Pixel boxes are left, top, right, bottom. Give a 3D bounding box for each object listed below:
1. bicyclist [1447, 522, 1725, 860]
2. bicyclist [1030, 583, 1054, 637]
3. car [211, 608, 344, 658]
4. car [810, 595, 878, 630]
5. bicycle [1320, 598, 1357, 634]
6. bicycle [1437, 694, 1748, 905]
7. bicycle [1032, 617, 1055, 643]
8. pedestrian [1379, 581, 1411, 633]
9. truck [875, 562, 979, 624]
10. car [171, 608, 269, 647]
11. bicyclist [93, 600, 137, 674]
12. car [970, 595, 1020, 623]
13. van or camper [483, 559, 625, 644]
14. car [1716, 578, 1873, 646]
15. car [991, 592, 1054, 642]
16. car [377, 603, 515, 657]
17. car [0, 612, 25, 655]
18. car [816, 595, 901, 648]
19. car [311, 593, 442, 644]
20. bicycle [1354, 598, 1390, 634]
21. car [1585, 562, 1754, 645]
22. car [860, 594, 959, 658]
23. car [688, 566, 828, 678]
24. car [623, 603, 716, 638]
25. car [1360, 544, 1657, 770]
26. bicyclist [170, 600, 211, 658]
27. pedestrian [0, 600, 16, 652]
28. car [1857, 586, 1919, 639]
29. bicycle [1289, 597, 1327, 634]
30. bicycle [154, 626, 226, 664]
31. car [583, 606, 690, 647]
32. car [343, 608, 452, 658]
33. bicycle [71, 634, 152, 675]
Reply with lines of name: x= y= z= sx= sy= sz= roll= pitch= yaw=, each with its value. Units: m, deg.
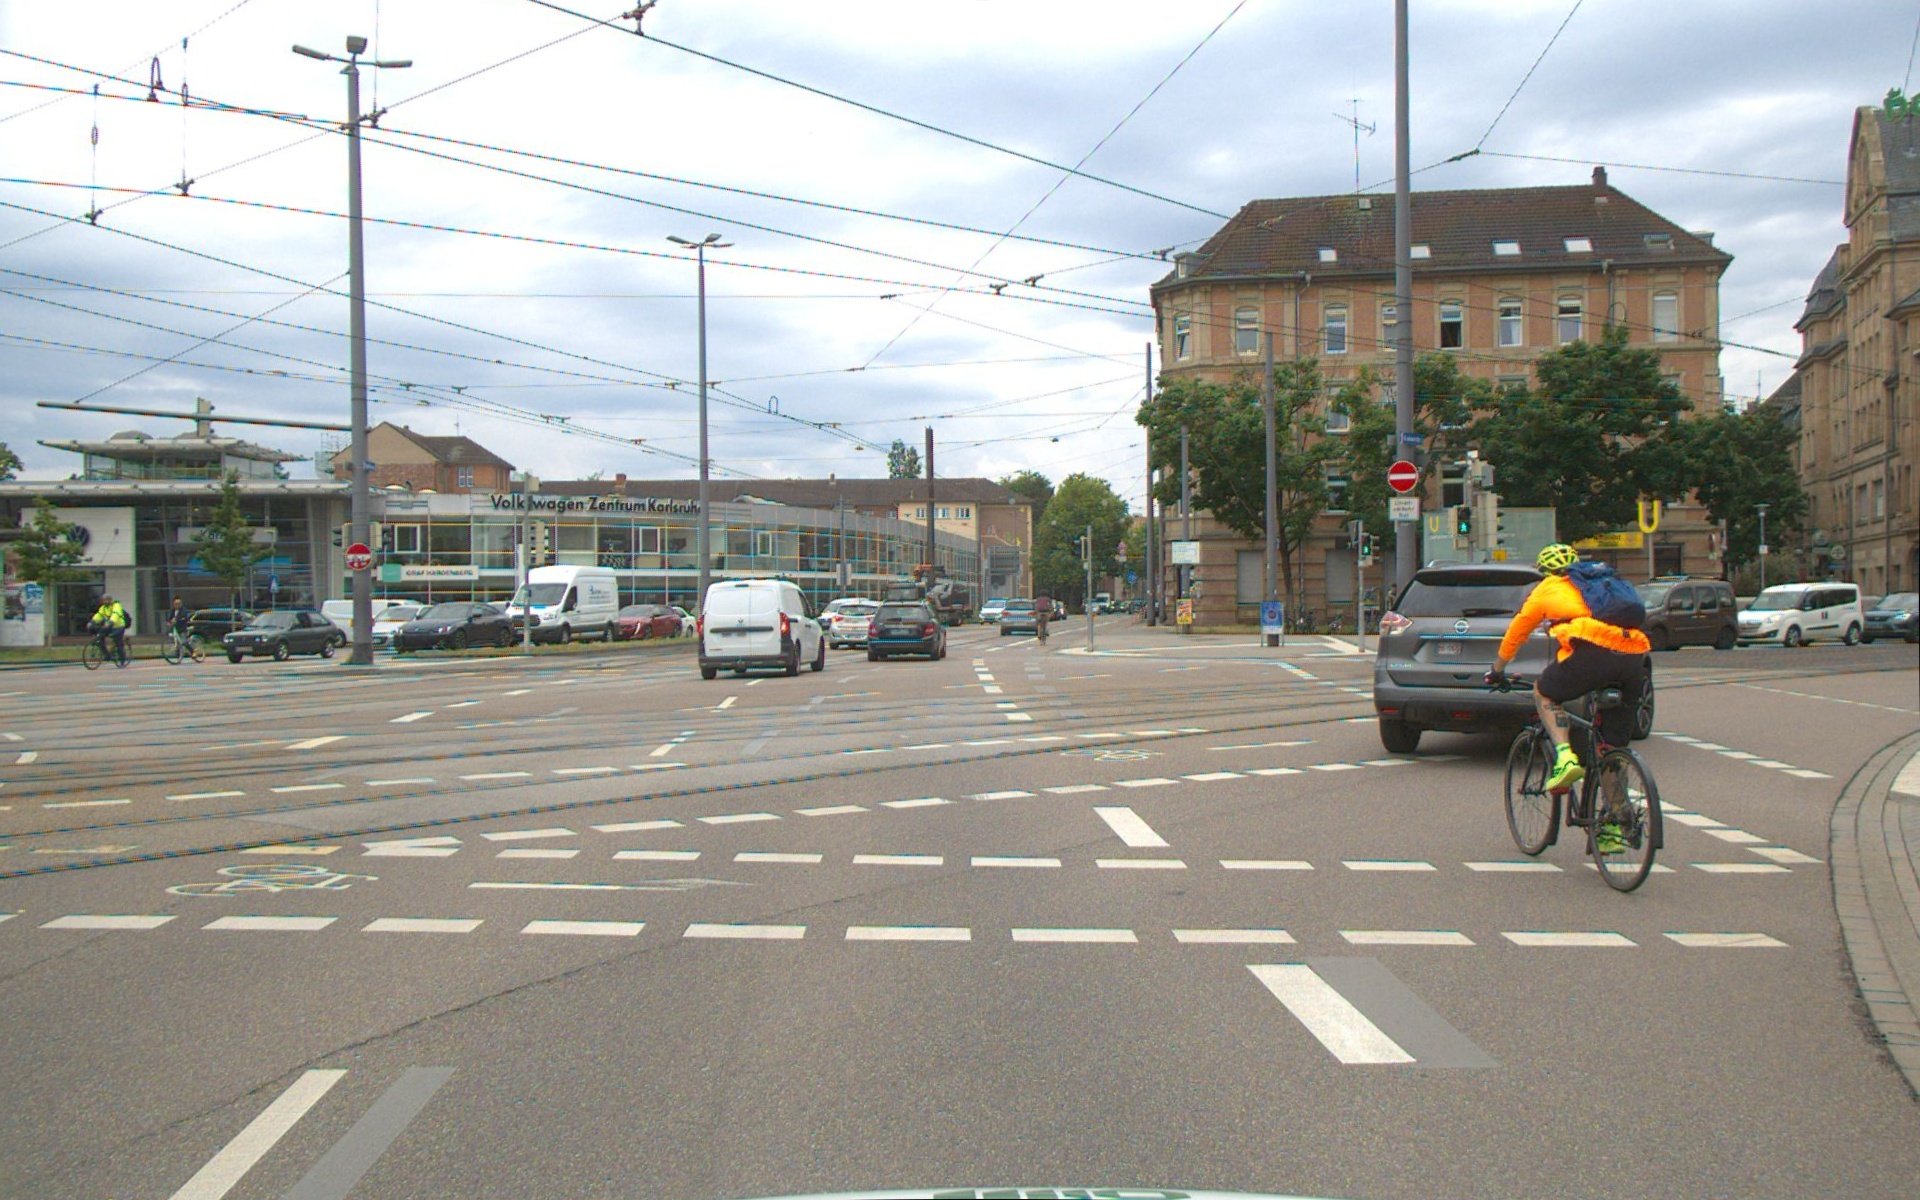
bicyclist: x=3.280 y=0.444 z=8.797 sx=0.812 sy=1.649 sz=1.318 roll=-1 pitch=0 yaw=-10
bicyclist: x=2.711 y=0.331 z=54.676 sx=0.674 sy=1.738 sz=0.798 roll=-1 pitch=0 yaw=-3
car: x=-18.506 y=0.878 z=44.988 sx=1.650 sy=1.268 sz=3.741 roll=-1 pitch=0 yaw=8
car: x=-6.284 y=0.664 z=90.012 sx=1.952 sy=1.871 sz=4.523 roll=-1 pitch=0 yaw=20
bicycle: x=14.757 y=0.613 z=64.476 sx=0.938 sy=1.378 sz=3.120 roll=0 pitch=-1 yaw=22
bicycle: x=3.256 y=0.988 z=8.750 sx=0.546 sy=0.863 sz=2.068 roll=-1 pitch=0 yaw=-10
bicycle: x=2.754 y=0.990 z=54.709 sx=0.606 sy=0.807 sz=1.591 roll=-1 pitch=0 yaw=-3
pedestrian: x=15.036 y=0.239 z=57.187 sx=0.893 sy=1.758 sz=0.601 roll=-1 pitch=0 yaw=-10
truck: x=-1.887 y=-0.385 z=101.026 sx=2.738 sy=3.611 sz=9.219 roll=0 pitch=-1 yaw=24
car: x=-28.726 y=1.052 z=64.310 sx=1.600 sy=1.445 sz=3.741 roll=-1 pitch=0 yaw=11
bicyclist: x=-21.333 y=0.926 z=41.780 sx=0.614 sy=1.835 sz=0.798 roll=-1 pitch=0 yaw=13
car: x=2.379 y=0.593 z=110.985 sx=1.952 sy=1.871 sz=4.523 roll=-1 pitch=0 yaw=20
van or camper: x=-13.364 y=0.066 z=54.932 sx=2.363 sy=2.656 sz=6.056 roll=0 pitch=-1 yaw=9
car: x=24.858 y=0.329 z=49.224 sx=5.034 sy=1.949 sz=1.849 roll=0 pitch=0 yaw=-32
car: x=2.696 y=0.714 z=70.727 sx=1.951 sy=2.049 sz=4.003 roll=0 pitch=-1 yaw=14
car: x=-14.669 y=0.822 z=47.503 sx=1.951 sy=1.445 sz=4.666 roll=-1 pitch=0 yaw=8
car: x=-46.698 y=1.585 z=78.970 sx=1.954 sy=2.049 sz=3.998 roll=0 pitch=-1 yaw=-3
car: x=-3.049 y=0.650 z=50.640 sx=1.813 sy=1.534 sz=4.003 roll=0 pitch=-1 yaw=8
car: x=-24.290 y=0.768 z=68.953 sx=4.664 sy=2.049 sz=2.123 roll=0 pitch=-1 yaw=9
bicycle: x=15.994 y=0.620 z=64.135 sx=0.938 sy=1.378 sz=3.120 roll=0 pitch=-1 yaw=22
car: x=17.337 y=0.084 z=40.369 sx=4.330 sy=1.933 sz=1.675 roll=0 pitch=-1 yaw=-33
car: x=-1.162 y=0.603 z=40.267 sx=1.951 sy=1.445 sz=4.002 roll=-1 pitch=0 yaw=5
car: x=-3.768 y=0.391 z=31.577 sx=1.872 sy=1.974 sz=4.133 roll=-1 pitch=0 yaw=4
car: x=-12.524 y=0.881 z=71.529 sx=1.952 sy=1.445 sz=4.753 roll=-1 pitch=0 yaw=18
car: x=5.140 y=0.441 z=15.181 sx=1.718 sy=1.786 sz=3.914 roll=0 pitch=0 yaw=32
bicyclist: x=-20.784 y=0.786 z=44.681 sx=0.553 sy=1.534 sz=0.857 roll=-1 pitch=1 yaw=13
pedestrian: x=-35.859 y=0.957 z=61.722 sx=0.693 sy=1.933 sz=0.862 roll=0 pitch=-1 yaw=22
car: x=30.441 y=0.376 z=52.214 sx=4.246 sy=1.561 sz=1.849 roll=0 pitch=-2 yaw=-32
bicycle: x=13.664 y=0.607 z=64.796 sx=0.938 sy=1.378 sz=3.120 roll=0 pitch=-1 yaw=22
bicycle: x=-20.787 y=1.217 z=44.681 sx=0.507 sy=0.942 sz=2.225 roll=-1 pitch=0 yaw=13
car: x=-12.002 y=0.967 z=61.650 sx=1.951 sy=1.445 sz=4.805 roll=-1 pitch=0 yaw=16
car: x=-17.043 y=0.981 z=50.302 sx=1.600 sy=1.445 sz=3.741 roll=-1 pitch=0 yaw=8
bicycle: x=-21.395 y=1.371 z=41.760 sx=0.507 sy=0.946 sz=2.225 roll=-1 pitch=0 yaw=13
